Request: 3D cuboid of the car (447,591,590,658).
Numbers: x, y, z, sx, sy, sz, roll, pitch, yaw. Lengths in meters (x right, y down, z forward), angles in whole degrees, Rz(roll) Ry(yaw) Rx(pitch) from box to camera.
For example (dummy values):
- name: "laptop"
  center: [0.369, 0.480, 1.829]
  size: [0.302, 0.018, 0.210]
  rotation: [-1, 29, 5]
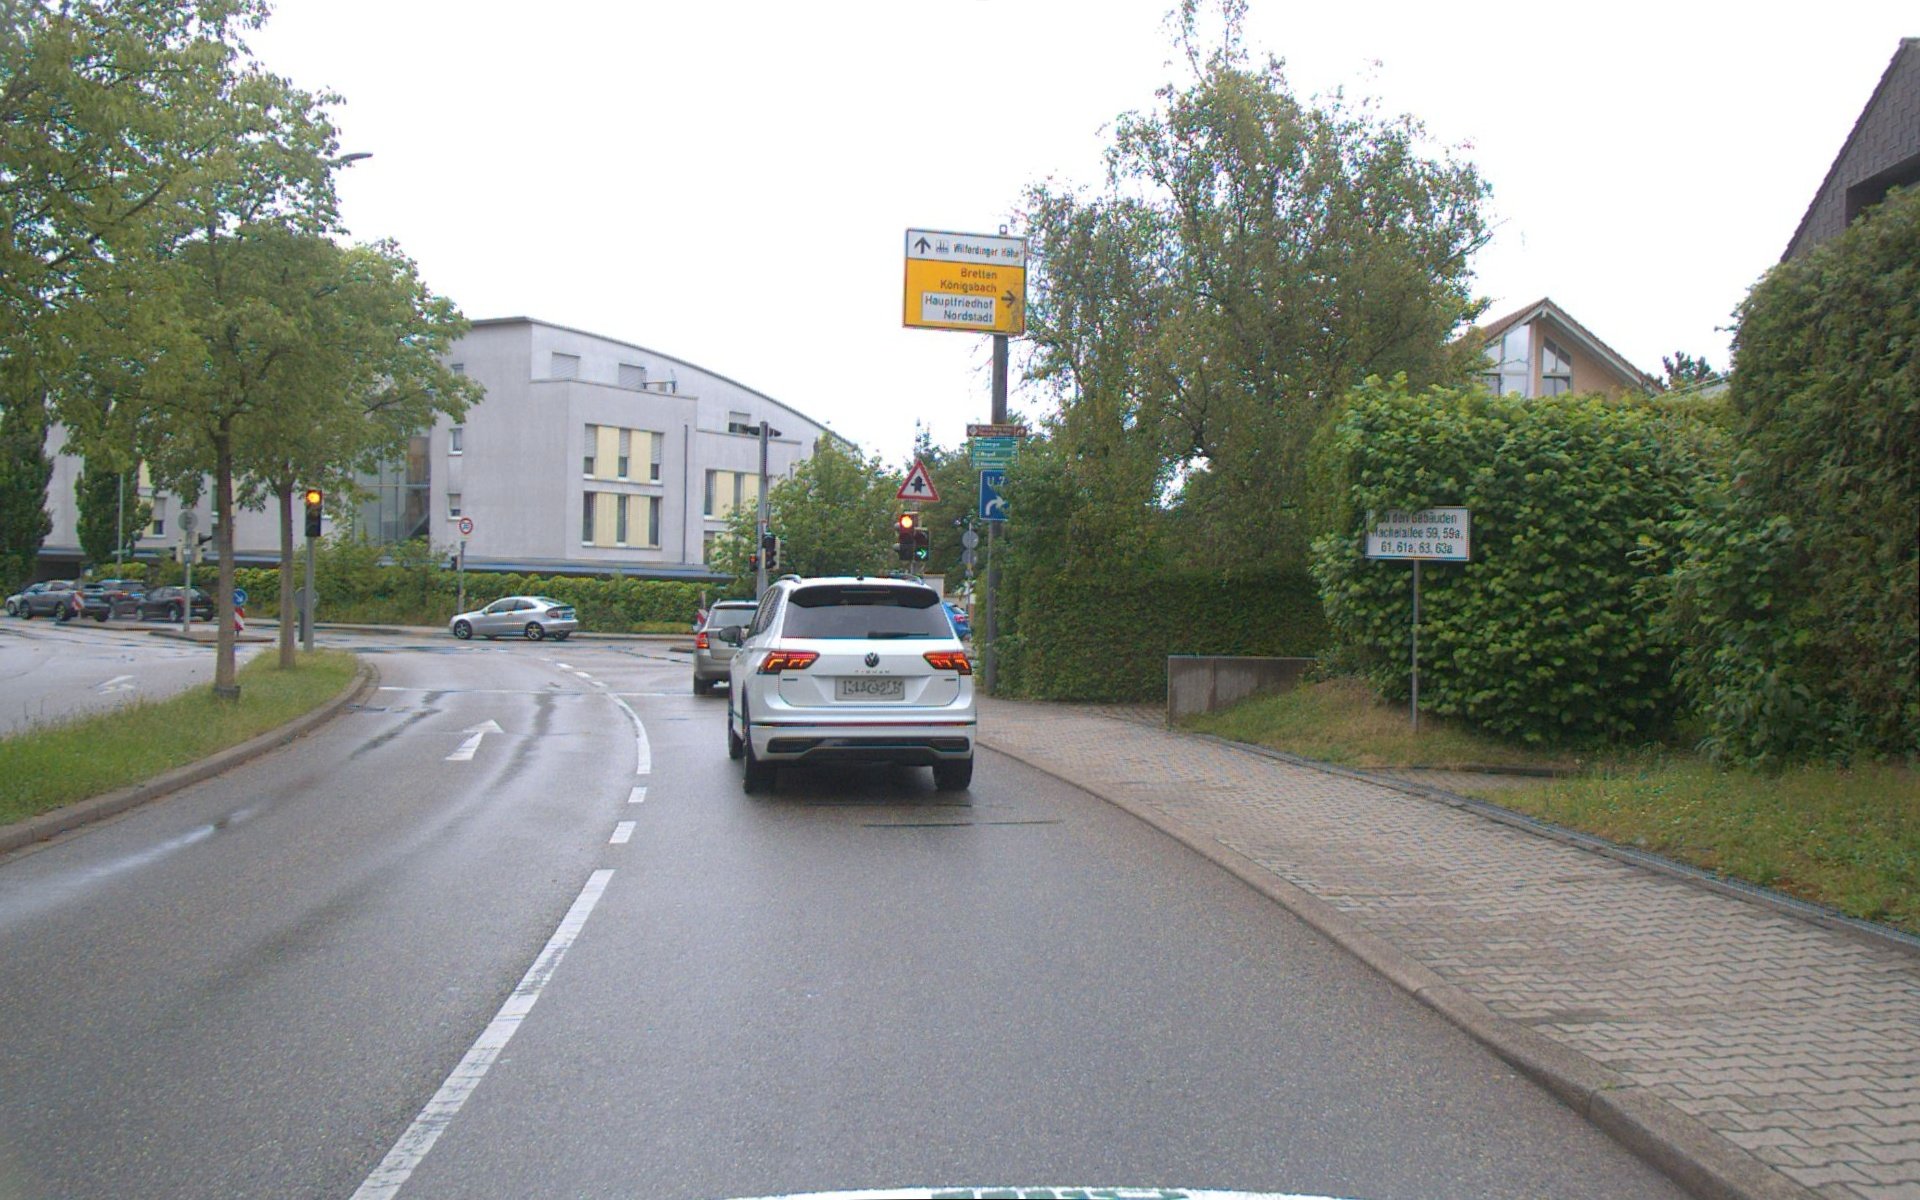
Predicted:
- name: "car"
  center: [-14.298, 0.759, 53.648]
  size: [3.903, 1.788, 2.002]
  rotation: [4, 2, 13]

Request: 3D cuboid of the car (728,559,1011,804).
- name: "car"
  center: [-0.936, 0.596, 14.099]
  size: [1.886, 1.752, 4.254]
  rotation: [1, 0, -10]

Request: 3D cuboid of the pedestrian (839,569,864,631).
- name: "pedestrian"
  center: [-3.669, -0.021, 56.151]
  size: [0.783, 2.048, 0.849]
  rotation: [1, 2, -3]

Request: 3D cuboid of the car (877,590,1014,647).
- name: "car"
  center: [-0.404, 0.532, 49.933]
  size: [3.902, 1.582, 2.002]
  rotation: [1, 1, 6]

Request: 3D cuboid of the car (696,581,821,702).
- name: "car"
  center: [-3.307, 0.604, 26.569]
  size: [1.733, 1.535, 3.992]
  rotation: [3, 3, -10]

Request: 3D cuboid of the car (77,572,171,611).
- name: "car"
  center: [-36.150, -0.400, 71.497]
  size: [3.918, 1.582, 1.994]
  rotation: [2, 1, 34]

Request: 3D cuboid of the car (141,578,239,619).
- name: "car"
  center: [-32.157, -0.098, 69.053]
  size: [3.918, 1.582, 1.994]
  rotation: [2, 2, 34]

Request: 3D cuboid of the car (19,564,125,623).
- name: "car"
  center: [-35.684, -0.283, 66.439]
  size: [3.915, 2.048, 1.977]
  rotation: [5, 3, 30]
